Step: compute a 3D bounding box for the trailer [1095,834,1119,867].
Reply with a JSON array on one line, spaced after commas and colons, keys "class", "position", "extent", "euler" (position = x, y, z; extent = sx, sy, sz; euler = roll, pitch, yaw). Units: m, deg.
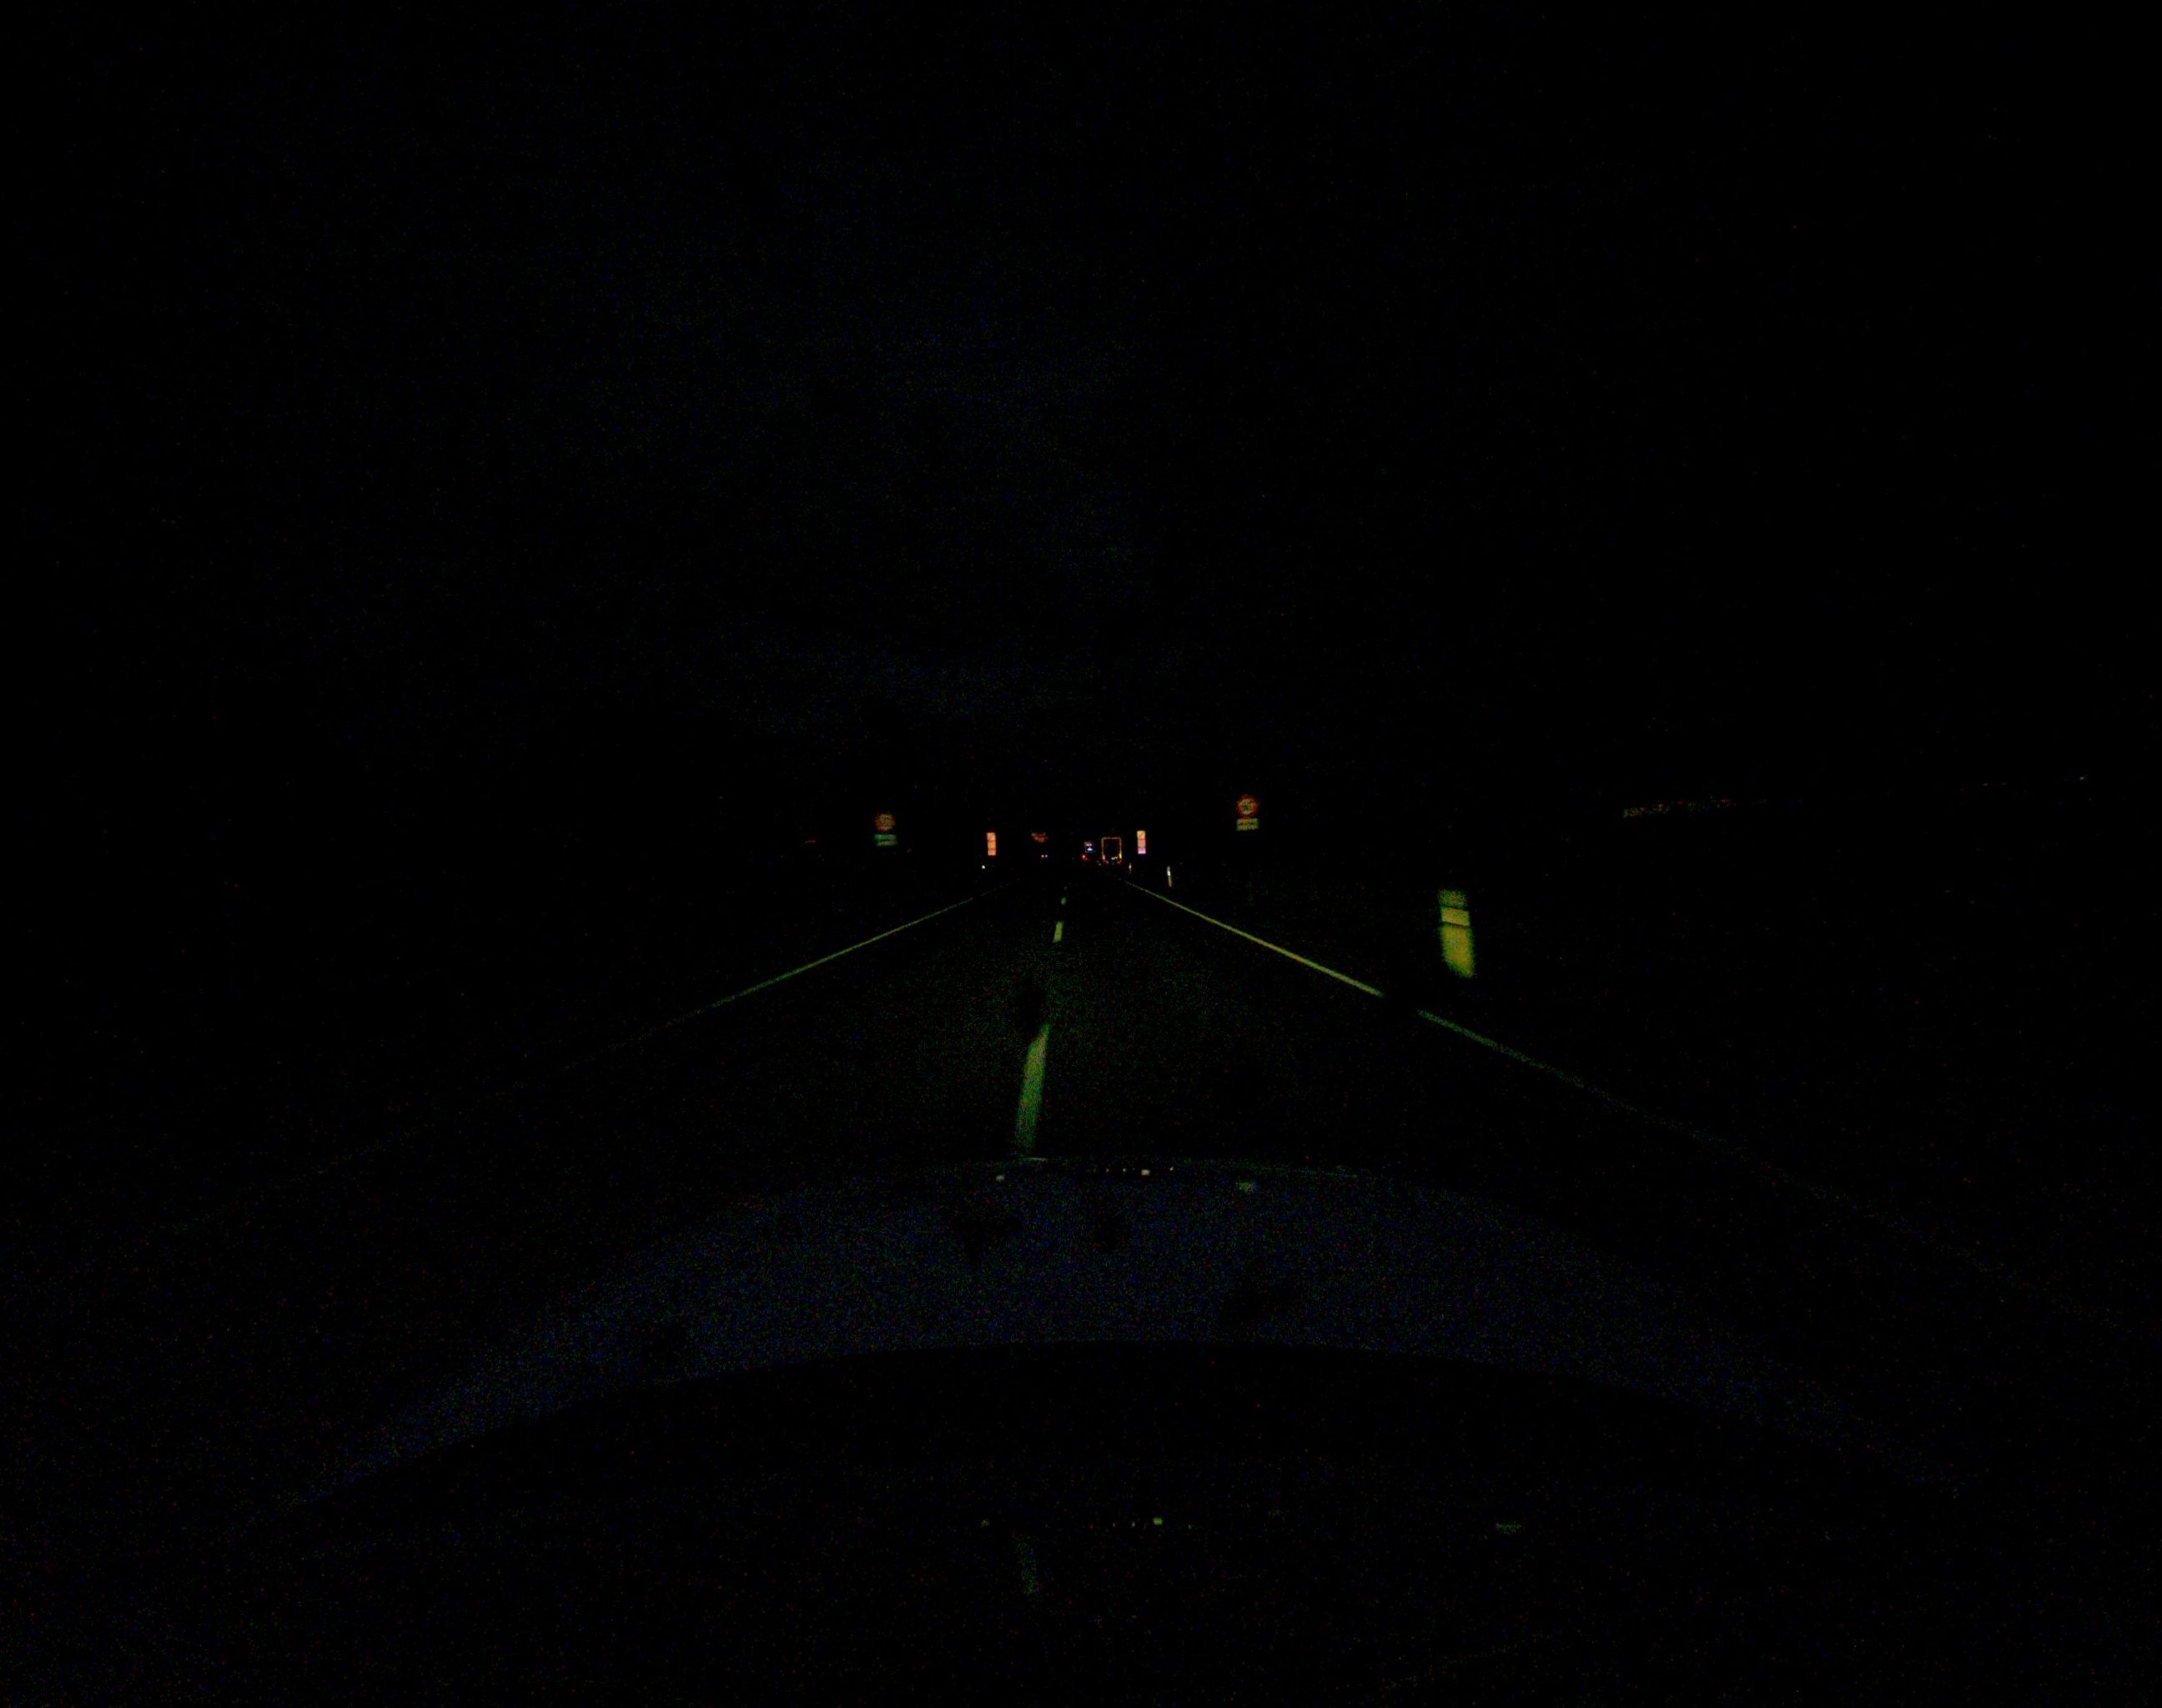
[{"class": "trailer", "position": [3.478, -0.439, 111.339], "extent": [2.614, 4.104, 12.931], "euler": [-3, 0, -1]}]

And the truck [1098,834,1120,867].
[{"class": "truck", "position": [3.519, -0.499, 104.562], "extent": [2.571, 4.071, 6.129], "euler": [-1, 0, 0]}]
